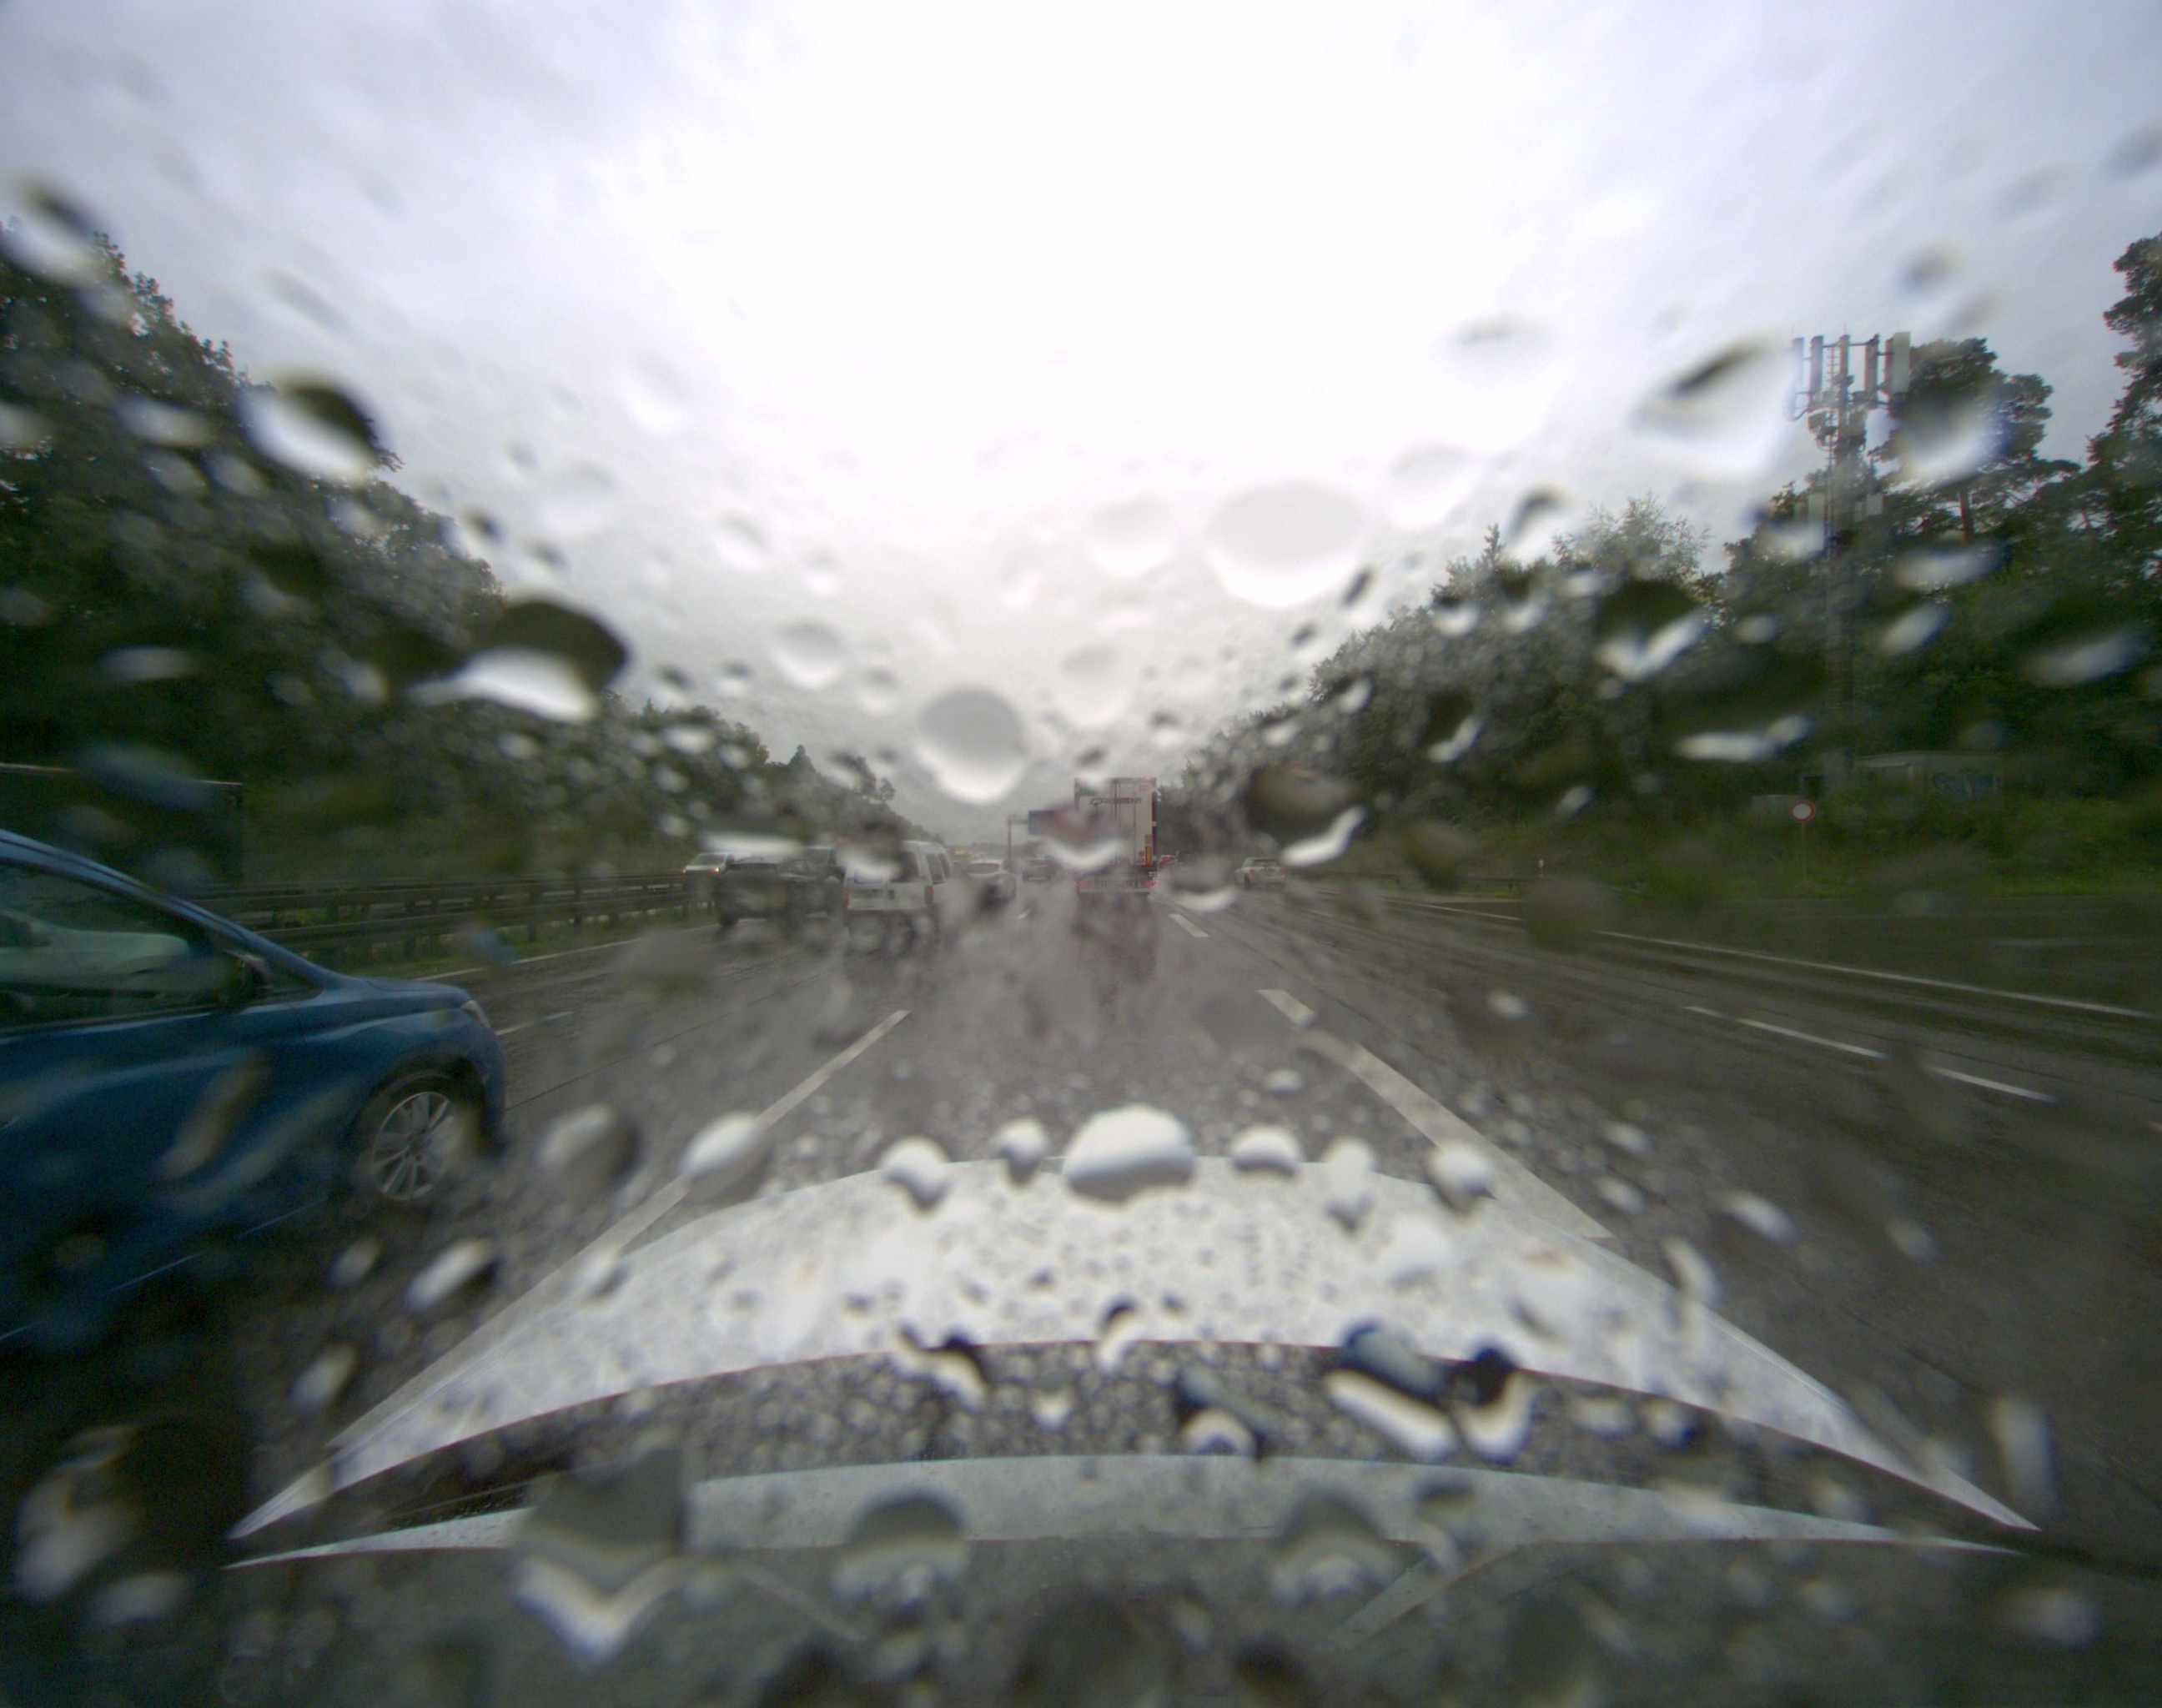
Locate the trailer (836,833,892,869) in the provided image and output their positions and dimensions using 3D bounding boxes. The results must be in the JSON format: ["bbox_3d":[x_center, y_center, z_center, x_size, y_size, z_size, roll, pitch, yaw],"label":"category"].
[{"bbox_3d":[-26.081,-0.350,98.672,2.710,3.954,13.961,-2,0,1],"label":"trailer"}]

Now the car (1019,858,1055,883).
[{"bbox_3d":[-2.912,1.059,54.206,1.837,1.591,4.471,-1,0,4],"label":"car"}]

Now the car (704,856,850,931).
[{"bbox_3d":[-7.296,0.876,20.066,1.839,1.591,4.467,-1,0,1],"label":"car"}]

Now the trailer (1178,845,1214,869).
[{"bbox_3d":[8.549,0.183,60.949,2.234,1.714,5.085,-1,0,2],"label":"trailer"}]

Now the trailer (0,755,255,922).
[{"bbox_3d":[-26.250,-0.333,17.505,3.014,3.818,13.561,-1,0,1],"label":"trailer"}]

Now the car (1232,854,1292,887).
[{"bbox_3d":[8.057,0.702,36.628,1.784,1.407,4.228,-1,0,0],"label":"car"}]

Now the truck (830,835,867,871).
[{"bbox_3d":[-26.111,-0.098,91.662,2.695,3.954,4.889,-2,0,0],"label":"truck"}]

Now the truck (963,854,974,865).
[{"bbox_3d":[-36.051,1.811,261.153,2.514,3.483,11.702,-1,0,-4],"label":"truck"}]

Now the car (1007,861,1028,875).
[{"bbox_3d":[-6.752,1.464,86.449,1.840,1.330,4.466,-1,0,0],"label":"car"}]

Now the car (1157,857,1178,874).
[{"bbox_3d":[8.633,1.143,81.797,1.981,1.583,4.773,-1,0,4],"label":"car"}]

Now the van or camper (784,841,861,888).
[{"bbox_3d":[-14.163,0.547,45.050,2.220,2.422,5.703,-1,0,2],"label":"van or camper"}]

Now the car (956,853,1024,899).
[{"bbox_3d":[-3.366,0.773,30.821,1.838,1.591,4.075,-1,0,3],"label":"car"}]

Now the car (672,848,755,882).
[{"bbox_3d":[-18.323,0.509,40.869,1.988,1.507,4.705,-2,0,-1],"label":"car"}]

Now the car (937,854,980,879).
[{"bbox_3d":[-7.041,0.712,47.228,1.840,1.330,4.466,-1,0,0],"label":"car"}]

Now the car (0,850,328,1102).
[{"bbox_3d":[-7.733,0.777,5.064,1.838,1.591,4.469,-1,0,2],"label":"car"}]

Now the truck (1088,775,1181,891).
[{"bbox_3d":[1.905,-0.605,30.909,2.861,3.562,11.308,-1,-1,3],"label":"truck"}]

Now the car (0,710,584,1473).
[{"bbox_3d":[-3.870,0.605,1.736,2.259,1.912,5.021,-1,0,4],"label":"car"}]

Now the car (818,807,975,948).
[{"bbox_3d":[-3.720,0.418,17.484,2.206,2.573,5.015,-1,0,0],"label":"car"}]
